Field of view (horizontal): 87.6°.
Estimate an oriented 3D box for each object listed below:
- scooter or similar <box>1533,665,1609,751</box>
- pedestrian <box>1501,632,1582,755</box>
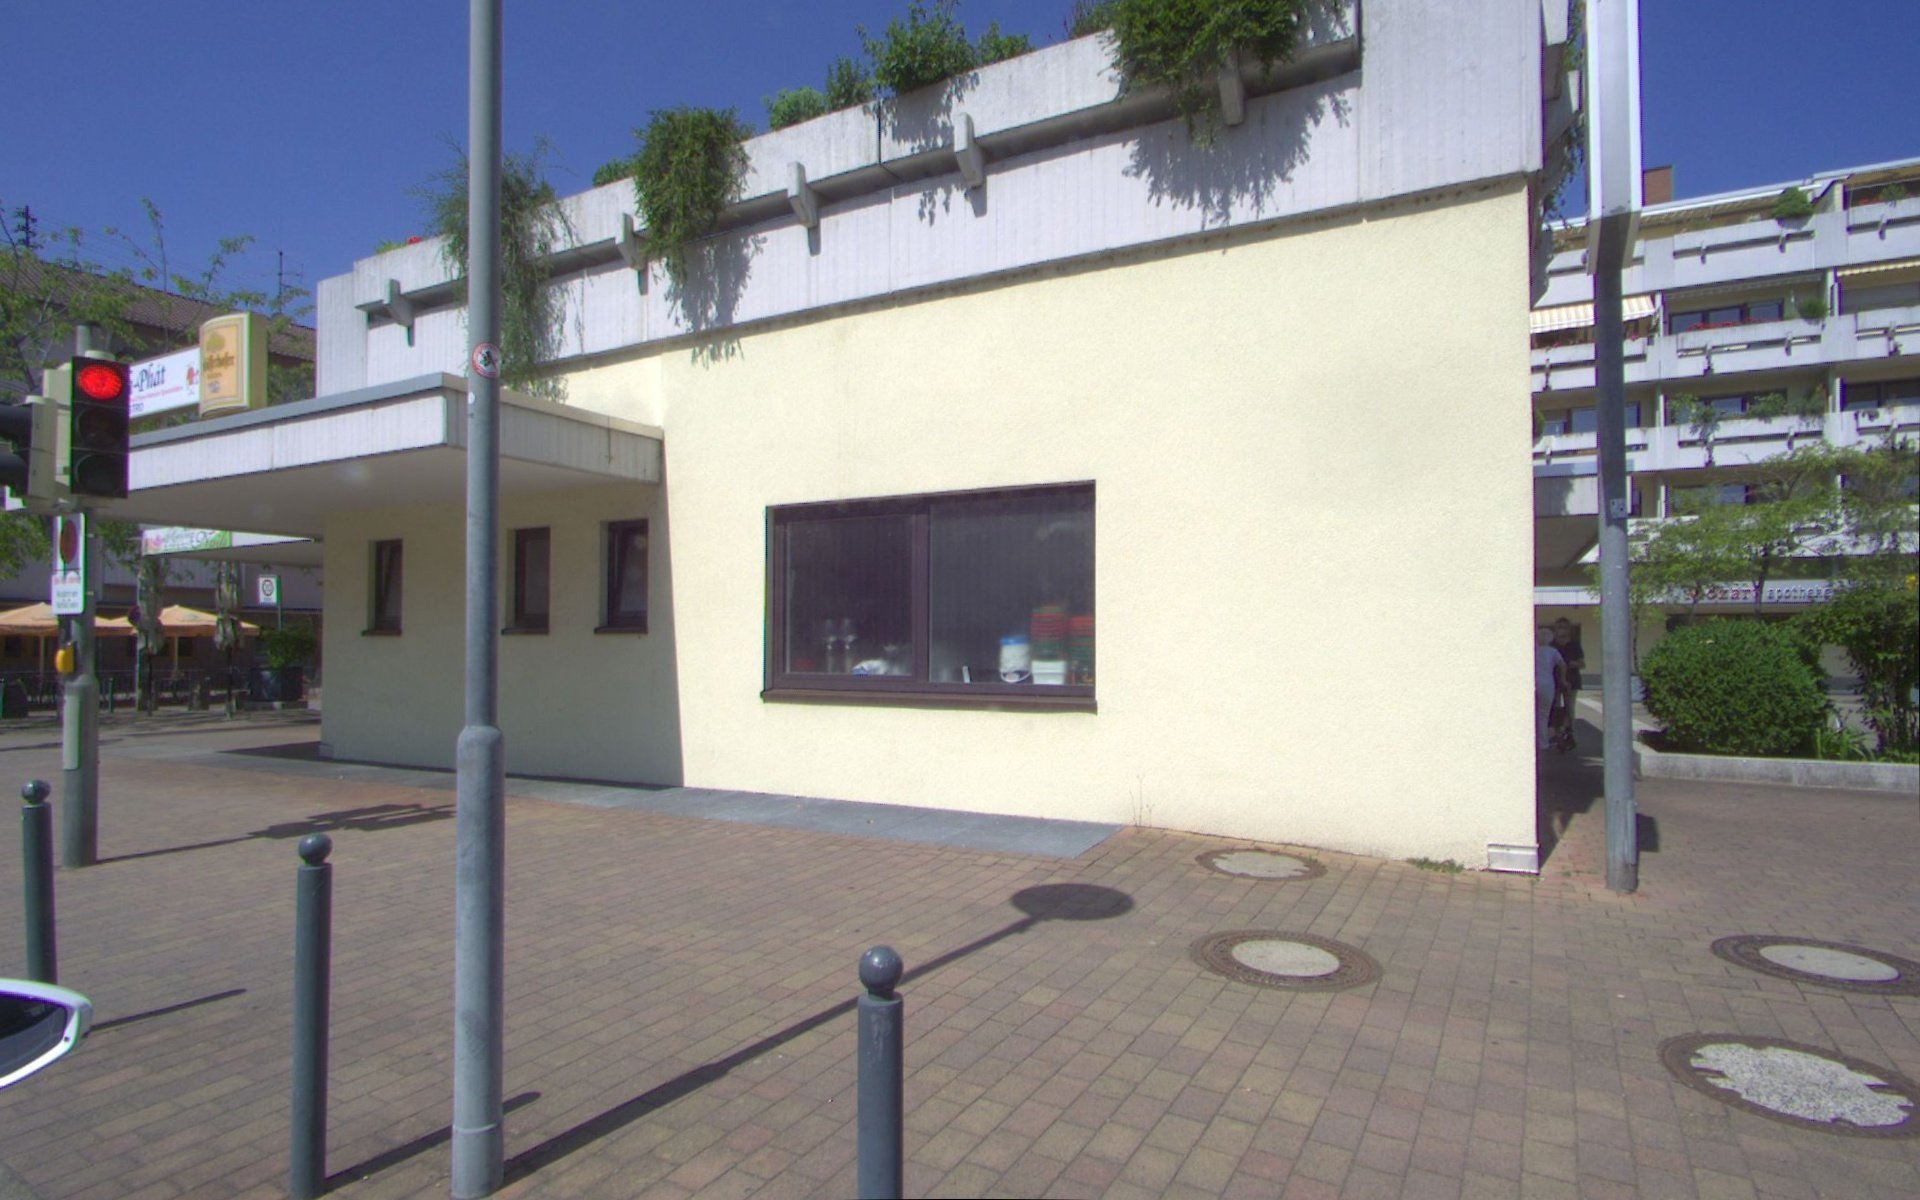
[{"bbox_3d":[8.106,1.415,13.286,0.795,1.088,0.587,2,-2,-35],"label":"scooter or similar"},{"bbox_3d":[7.456,1.174,12.841,0.801,1.516,0.615,1,-2,-35],"label":"pedestrian"}]
